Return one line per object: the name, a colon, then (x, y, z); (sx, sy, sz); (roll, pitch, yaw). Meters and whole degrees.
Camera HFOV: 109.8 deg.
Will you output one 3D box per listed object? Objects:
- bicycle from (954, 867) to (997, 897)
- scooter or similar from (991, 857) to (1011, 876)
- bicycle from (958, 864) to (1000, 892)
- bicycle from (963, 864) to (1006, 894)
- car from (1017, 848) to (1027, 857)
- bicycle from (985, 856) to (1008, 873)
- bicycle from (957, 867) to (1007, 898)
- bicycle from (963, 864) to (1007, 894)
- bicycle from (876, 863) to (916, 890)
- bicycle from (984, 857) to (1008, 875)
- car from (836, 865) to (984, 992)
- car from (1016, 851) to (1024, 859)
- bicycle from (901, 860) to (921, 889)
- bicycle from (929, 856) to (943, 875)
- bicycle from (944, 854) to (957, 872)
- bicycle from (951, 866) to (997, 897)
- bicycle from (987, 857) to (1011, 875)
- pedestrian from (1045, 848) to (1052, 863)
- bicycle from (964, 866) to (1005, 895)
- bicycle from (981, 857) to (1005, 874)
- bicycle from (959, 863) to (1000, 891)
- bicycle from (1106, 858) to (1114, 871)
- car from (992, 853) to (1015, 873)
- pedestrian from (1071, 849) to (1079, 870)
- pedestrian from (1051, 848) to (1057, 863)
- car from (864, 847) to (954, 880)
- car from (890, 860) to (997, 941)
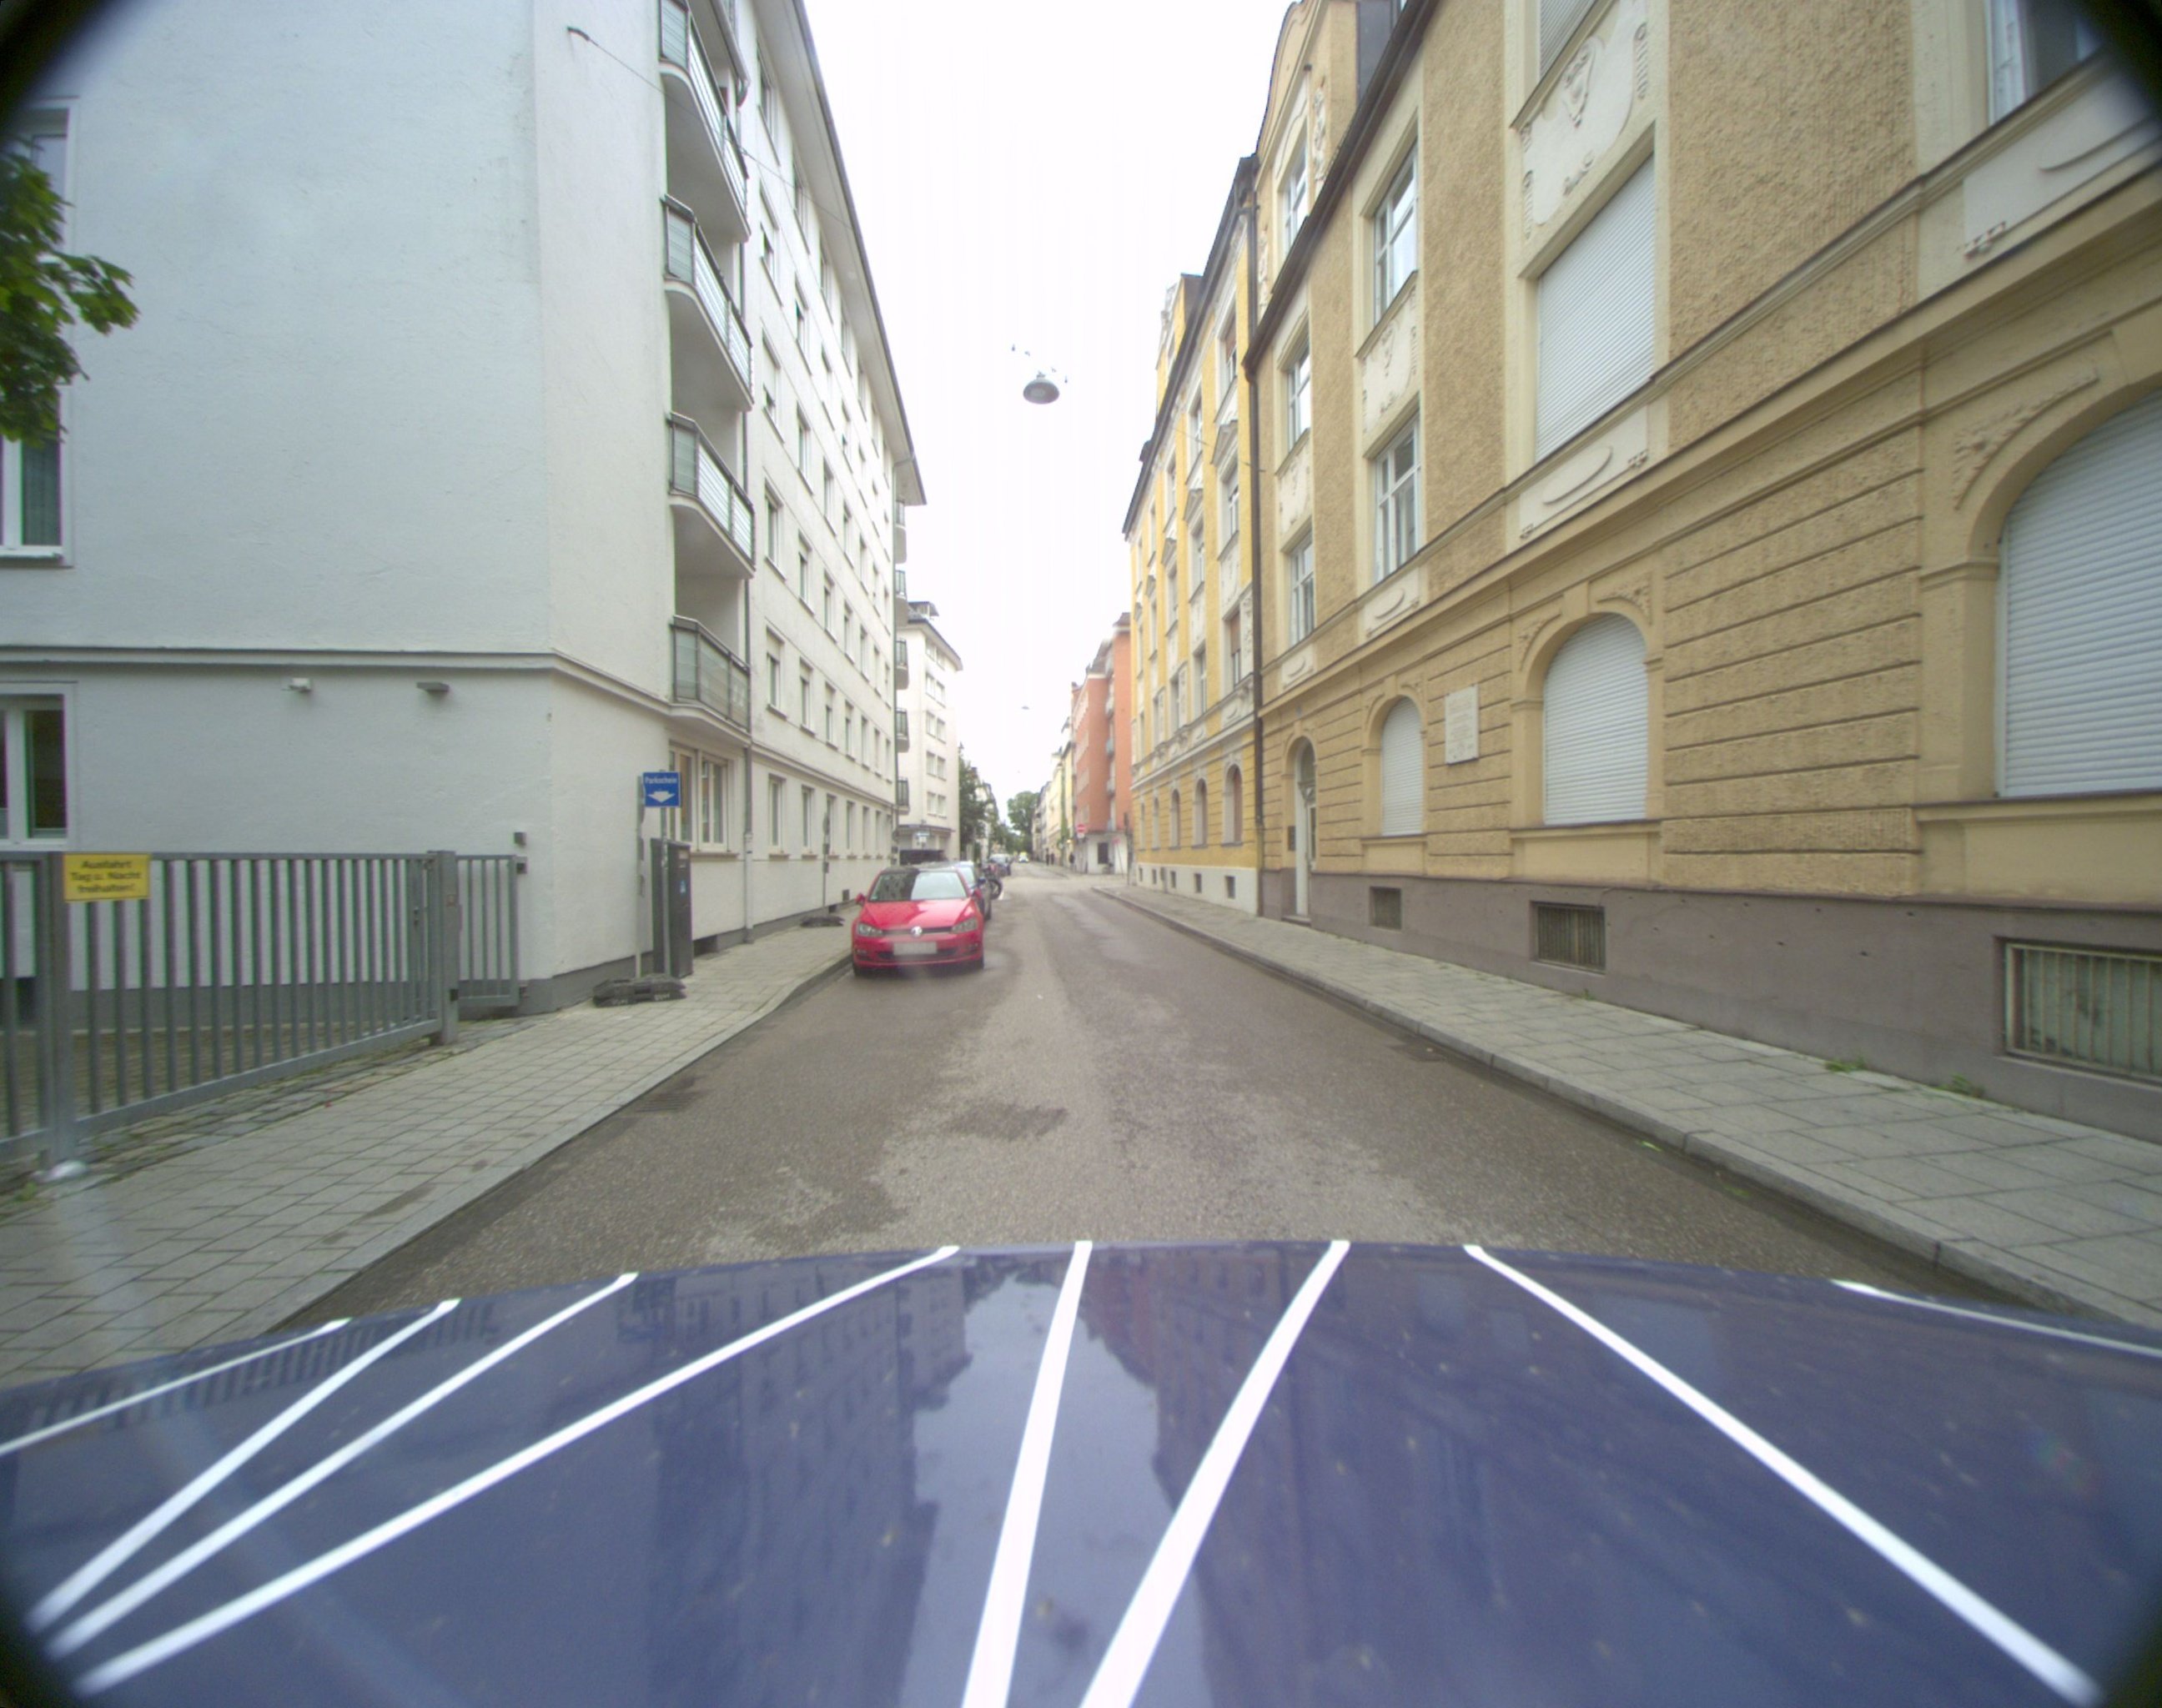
bicycle: (-3.773, 0.992, 27.171); (1.439, 1.037, 0.330); (1, 1, 3)
scooter or similar: (-5.277, 0.807, 50.142); (1.341, 1.207, 0.344); (0, 1, -2)
bicycle: (-4.253, 0.990, 31.803); (1.700, 1.154, 0.313); (-1, 1, -6)
bicycle: (-3.876, 0.989, 30.492); (1.700, 1.154, 0.378); (-1, 1, -6)
car: (-12.308, -0.375, 157.421); (1.930, 1.794, 4.441); (-1, 0, -5)
bicycle: (-6.088, 0.761, 55.066); (1.608, 1.207, 0.529); (0, 1, -2)
bicycle: (-3.487, 0.997, 26.728); (1.708, 1.037, 0.360); (1, 1, -4)
bicycle: (-3.804, 0.992, 30.099); (1.700, 1.154, 0.378); (-1, 1, -6)
bicycle: (-7.451, 0.906, 30.643); (1.503, 1.037, 0.398); (1, 1, -23)
bicycle: (-5.832, 0.791, 52.099); (1.608, 1.207, 0.529); (0, 1, -2)
car: (-2.535, 0.965, 11.718); (1.767, 1.438, 4.294); (-2, 1, -11)
car: (-16.007, 0.307, 199.496); (1.999, 2.002, 4.644); (-1, 0, -5)
bicycle: (-7.286, 0.862, 32.512); (0.400, 1.197, 1.502); (1, 1, -29)
bicycle: (-9.493, 0.751, 49.674); (0.528, 1.207, 1.609); (0, 1, 3)
bicycle: (-9.225, 0.637, 53.730); (0.528, 1.207, 1.609); (0, 1, 3)
bicycle: (-3.889, 0.990, 27.525); (1.591, 1.037, 0.323); (1, 1, 4)
bicycle: (-5.552, 0.795, 51.549); (1.608, 1.207, 0.529); (0, 1, -2)
pedestrian: (-3.881, 0.138, 91.245); (0.726, 1.783, 0.829); (0, 1, -5)
bicycle: (-3.612, 0.987, 28.439); (1.442, 1.037, 0.360); (1, 1, 3)
bicycle: (-6.082, 0.786, 52.642); (1.608, 1.207, 0.529); (0, 1, -2)
bicycle: (-4.289, 0.968, 32.131); (1.700, 1.154, 0.313); (-1, 1, -6)
bicycle: (2.005, 0.721, 52.837); (0.391, 0.932, 1.539); (0, 0, -5)
car: (-5.891, 0.672, 57.937); (1.654, 1.390, 3.998); (0, 0, -5)
pedestrian: (-0.466, 0.463, 61.411); (0.613, 1.684, 0.565); (-1, 1, -6)
pedestrian: (-3.257, 0.151, 91.568); (0.700, 1.783, 0.763); (0, 1, -4)
car: (-9.841, 0.541, 43.765); (4.678, 1.880, 1.934); (0, 0, 3)
car: (-2.916, 0.924, 16.984); (1.800, 1.430, 4.381); (-2, 1, -3)
